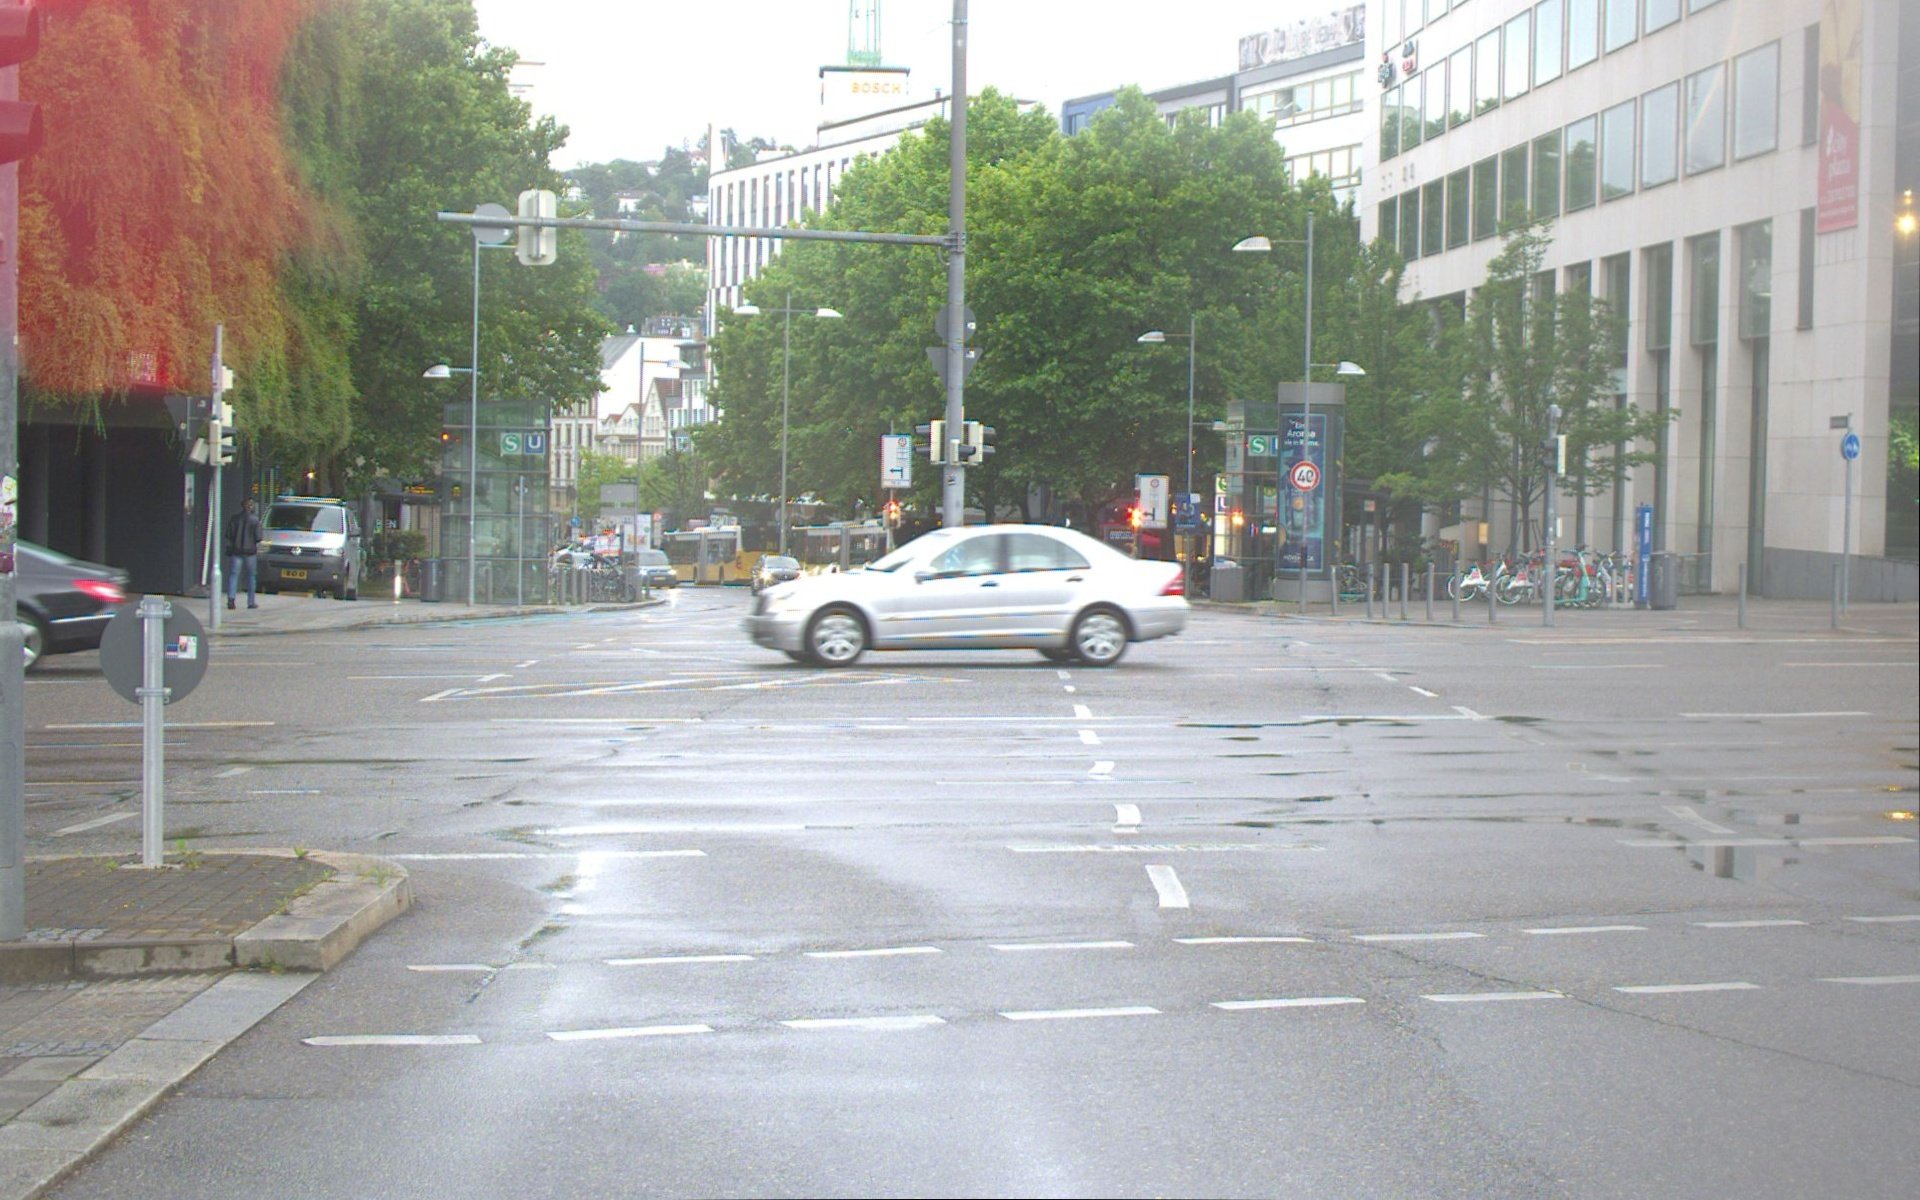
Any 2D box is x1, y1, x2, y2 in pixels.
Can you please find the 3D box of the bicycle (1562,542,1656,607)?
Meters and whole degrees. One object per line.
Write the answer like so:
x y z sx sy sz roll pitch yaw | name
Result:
12.239 -0.484 64.845 1.624 1.190 0.586 1 0 26 | bicycle

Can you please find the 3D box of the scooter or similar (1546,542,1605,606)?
11.485 -0.488 64.160 0.963 1.190 0.454 1 1 40 | scooter or similar

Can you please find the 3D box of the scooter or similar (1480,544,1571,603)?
11.673 -0.553 70.984 1.777 1.190 0.586 1 0 2 | scooter or similar

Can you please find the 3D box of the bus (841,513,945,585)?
-2.900 -2.200 145.942 2.627 2.985 7.451 0 1 -16 | bus

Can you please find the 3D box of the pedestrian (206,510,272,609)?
-12.104 -0.680 57.722 0.933 1.638 0.774 1 0 -1 | pedestrian

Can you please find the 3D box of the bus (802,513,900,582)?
-4.914 -2.350 153.088 2.627 2.985 7.451 0 1 -16 | bus

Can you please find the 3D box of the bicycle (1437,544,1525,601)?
11.128 -0.585 73.410 1.777 1.190 0.586 1 0 2 | bicycle

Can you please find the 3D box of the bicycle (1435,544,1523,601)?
10.980 -0.580 72.776 1.777 1.190 0.586 1 0 2 | bicycle

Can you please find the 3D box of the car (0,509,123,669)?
-10.428 -0.116 32.414 4.845 1.472 2.000 1 -1 -15 | car

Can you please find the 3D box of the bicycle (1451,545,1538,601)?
11.556 -0.588 74.328 1.777 1.190 0.586 1 0 2 | bicycle

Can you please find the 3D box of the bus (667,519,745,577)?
-13.373 -2.763 180.330 2.627 2.985 7.451 0 1 -16 | bus

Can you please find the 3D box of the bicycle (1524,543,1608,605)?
11.696 -0.507 66.397 0.584 1.190 1.784 1 1 -28 | bicycle

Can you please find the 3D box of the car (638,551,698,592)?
-13.101 -1.273 153.899 2.163 1.759 4.832 -1 1 -11 | car

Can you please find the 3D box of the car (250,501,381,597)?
-12.772 -1.008 68.329 1.870 1.833 4.000 1 1 -1 | car

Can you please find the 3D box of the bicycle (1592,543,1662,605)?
13.000 -0.494 66.955 0.586 1.190 1.779 1 1 38 | bicycle

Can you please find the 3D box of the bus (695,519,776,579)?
-11.357 -2.592 173.234 2.627 2.985 7.330 0 1 -16 | bus

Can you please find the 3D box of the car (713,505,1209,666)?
-0.020 -0.182 35.112 4.717 1.472 2.001 -1 4 -14 | car

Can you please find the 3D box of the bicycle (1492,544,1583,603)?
12.027 -0.554 71.607 1.777 1.190 0.586 1 0 2 | bicycle

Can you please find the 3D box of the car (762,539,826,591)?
-6.131 -1.289 126.675 2.164 1.759 5.113 3 0 -4 | car

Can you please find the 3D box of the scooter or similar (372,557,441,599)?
-13.281 -0.534 82.548 0.623 1.001 1.657 1 1 38 | scooter or similar
